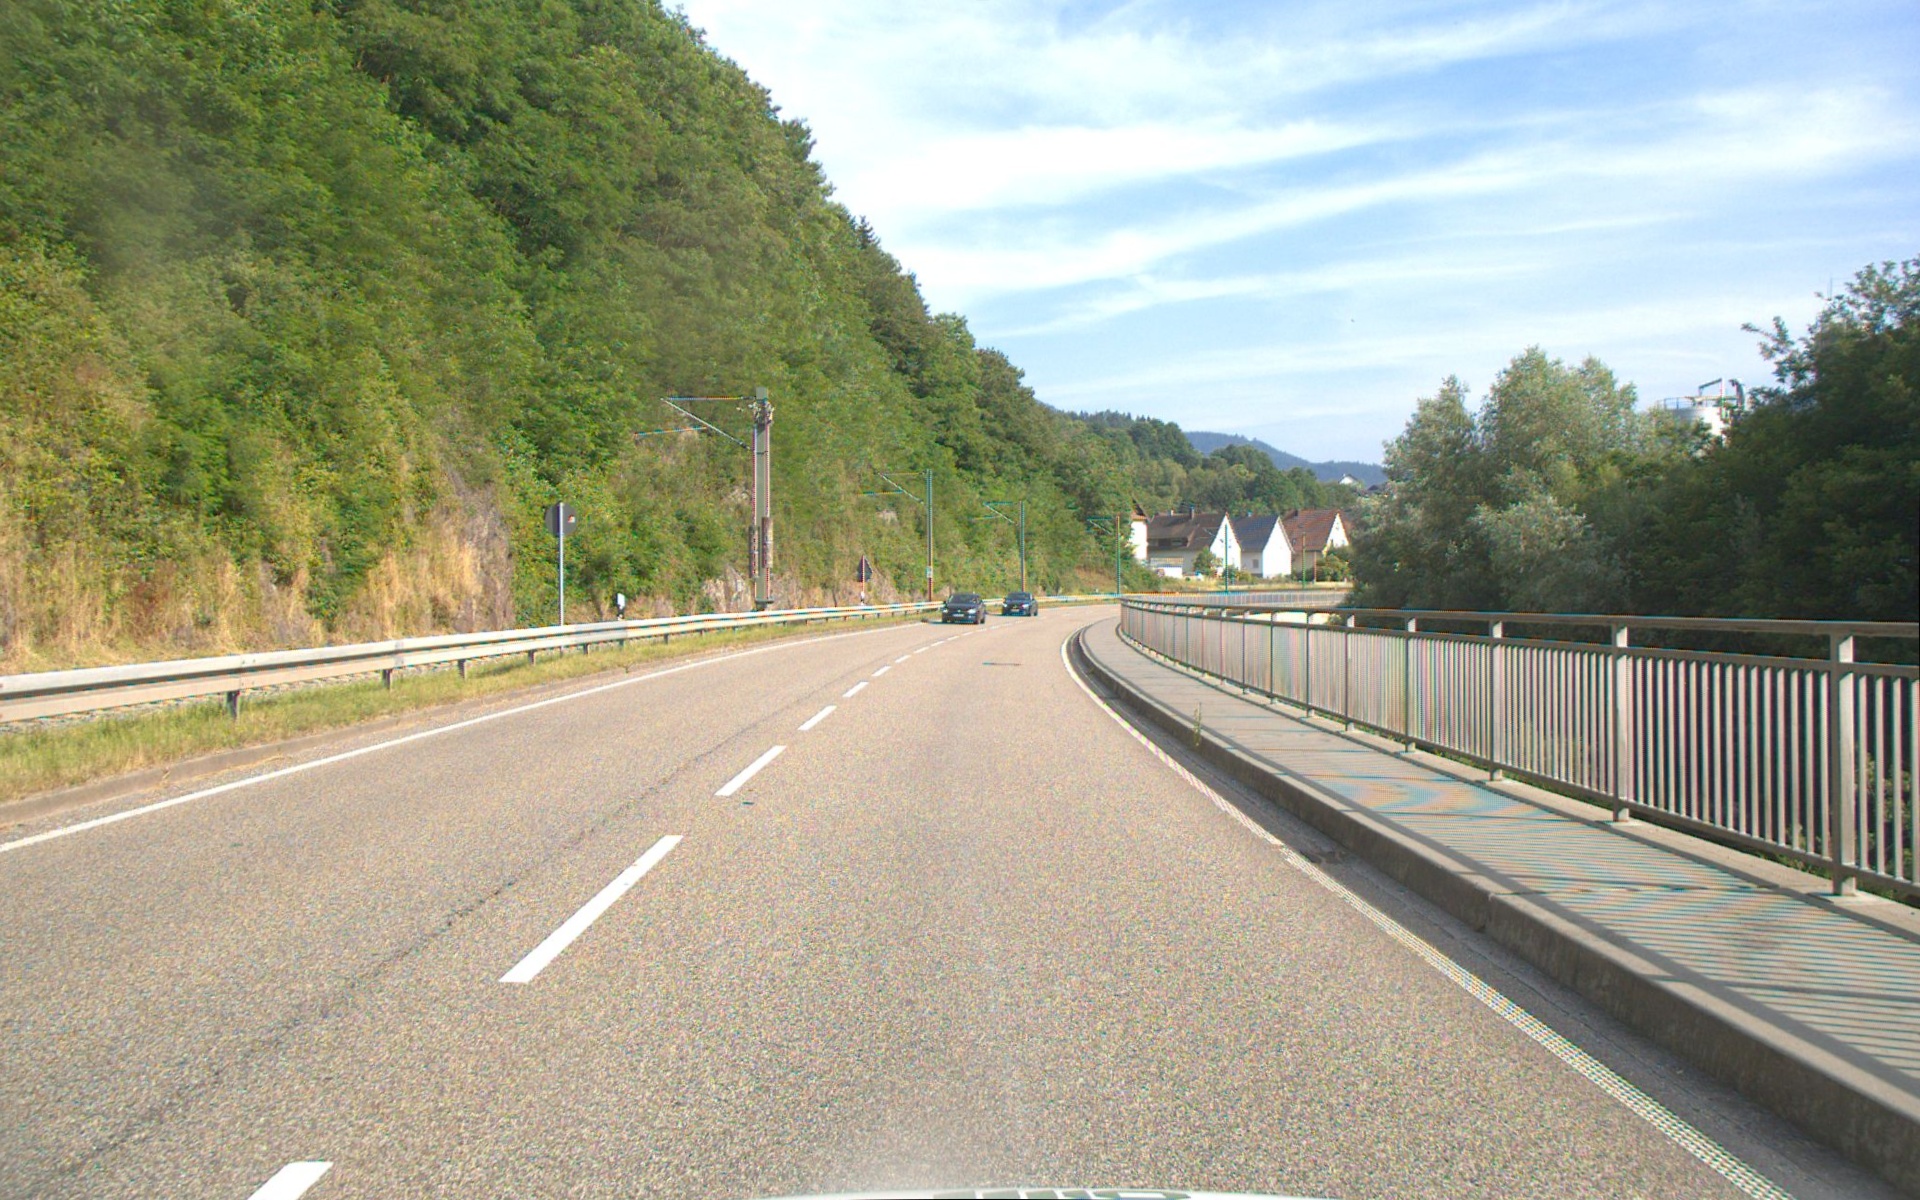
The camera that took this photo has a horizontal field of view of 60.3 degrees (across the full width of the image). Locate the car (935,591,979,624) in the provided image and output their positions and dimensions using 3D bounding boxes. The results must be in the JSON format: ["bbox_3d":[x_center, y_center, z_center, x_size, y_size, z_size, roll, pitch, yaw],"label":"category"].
[{"bbox_3d":[-0.130,0.340,78.998,1.808,1.465,3.899,-2,0,4],"label":"car"}]

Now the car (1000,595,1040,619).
[{"bbox_3d":[3.700,0.409,101.406,1.807,1.426,4.480,0,0,10],"label":"car"}]
